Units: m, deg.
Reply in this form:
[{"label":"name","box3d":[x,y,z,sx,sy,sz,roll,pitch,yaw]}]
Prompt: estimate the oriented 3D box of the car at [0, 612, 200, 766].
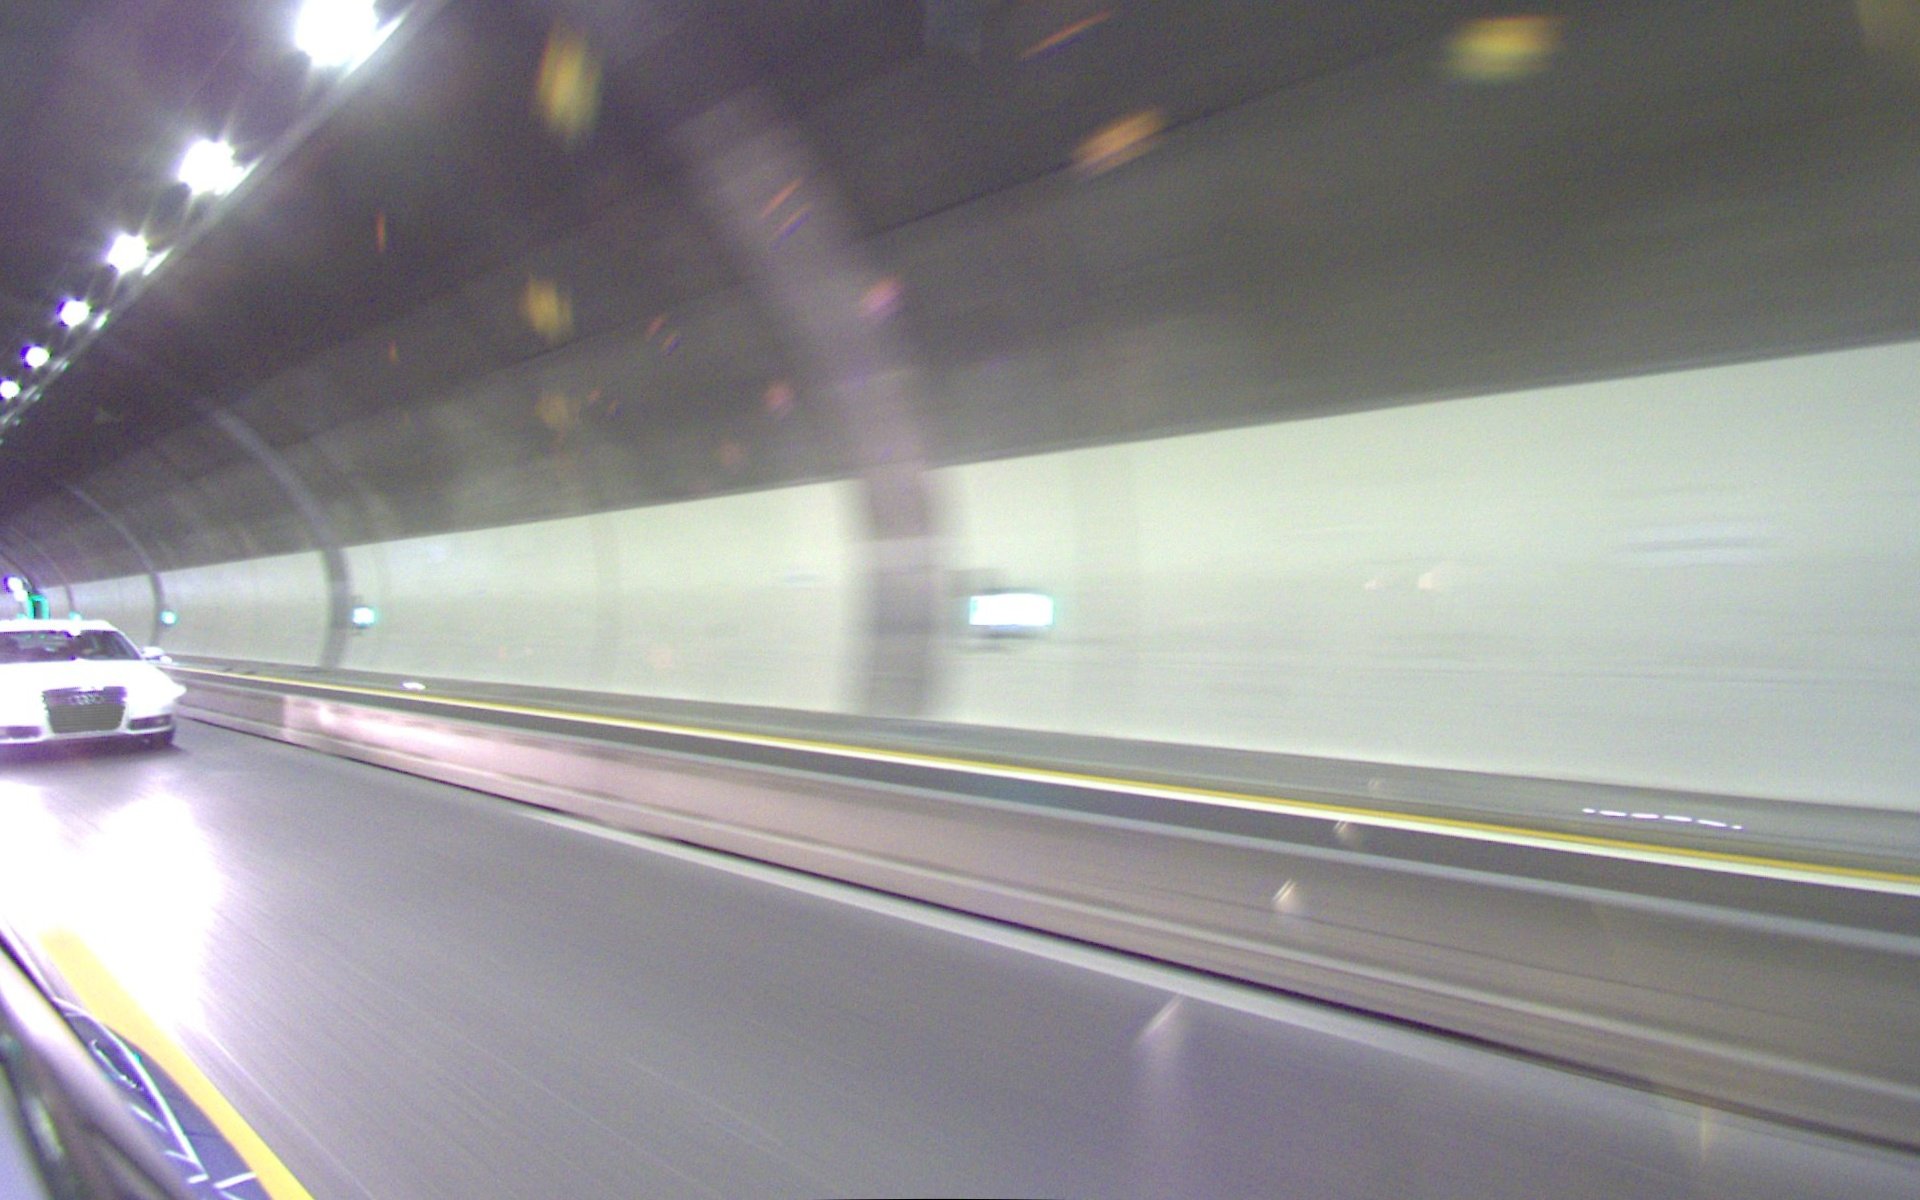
[{"label":"car","box3d":[-10.812,0.934,11.969,4.940,1.496,1.884,-2,-2,40]}]
